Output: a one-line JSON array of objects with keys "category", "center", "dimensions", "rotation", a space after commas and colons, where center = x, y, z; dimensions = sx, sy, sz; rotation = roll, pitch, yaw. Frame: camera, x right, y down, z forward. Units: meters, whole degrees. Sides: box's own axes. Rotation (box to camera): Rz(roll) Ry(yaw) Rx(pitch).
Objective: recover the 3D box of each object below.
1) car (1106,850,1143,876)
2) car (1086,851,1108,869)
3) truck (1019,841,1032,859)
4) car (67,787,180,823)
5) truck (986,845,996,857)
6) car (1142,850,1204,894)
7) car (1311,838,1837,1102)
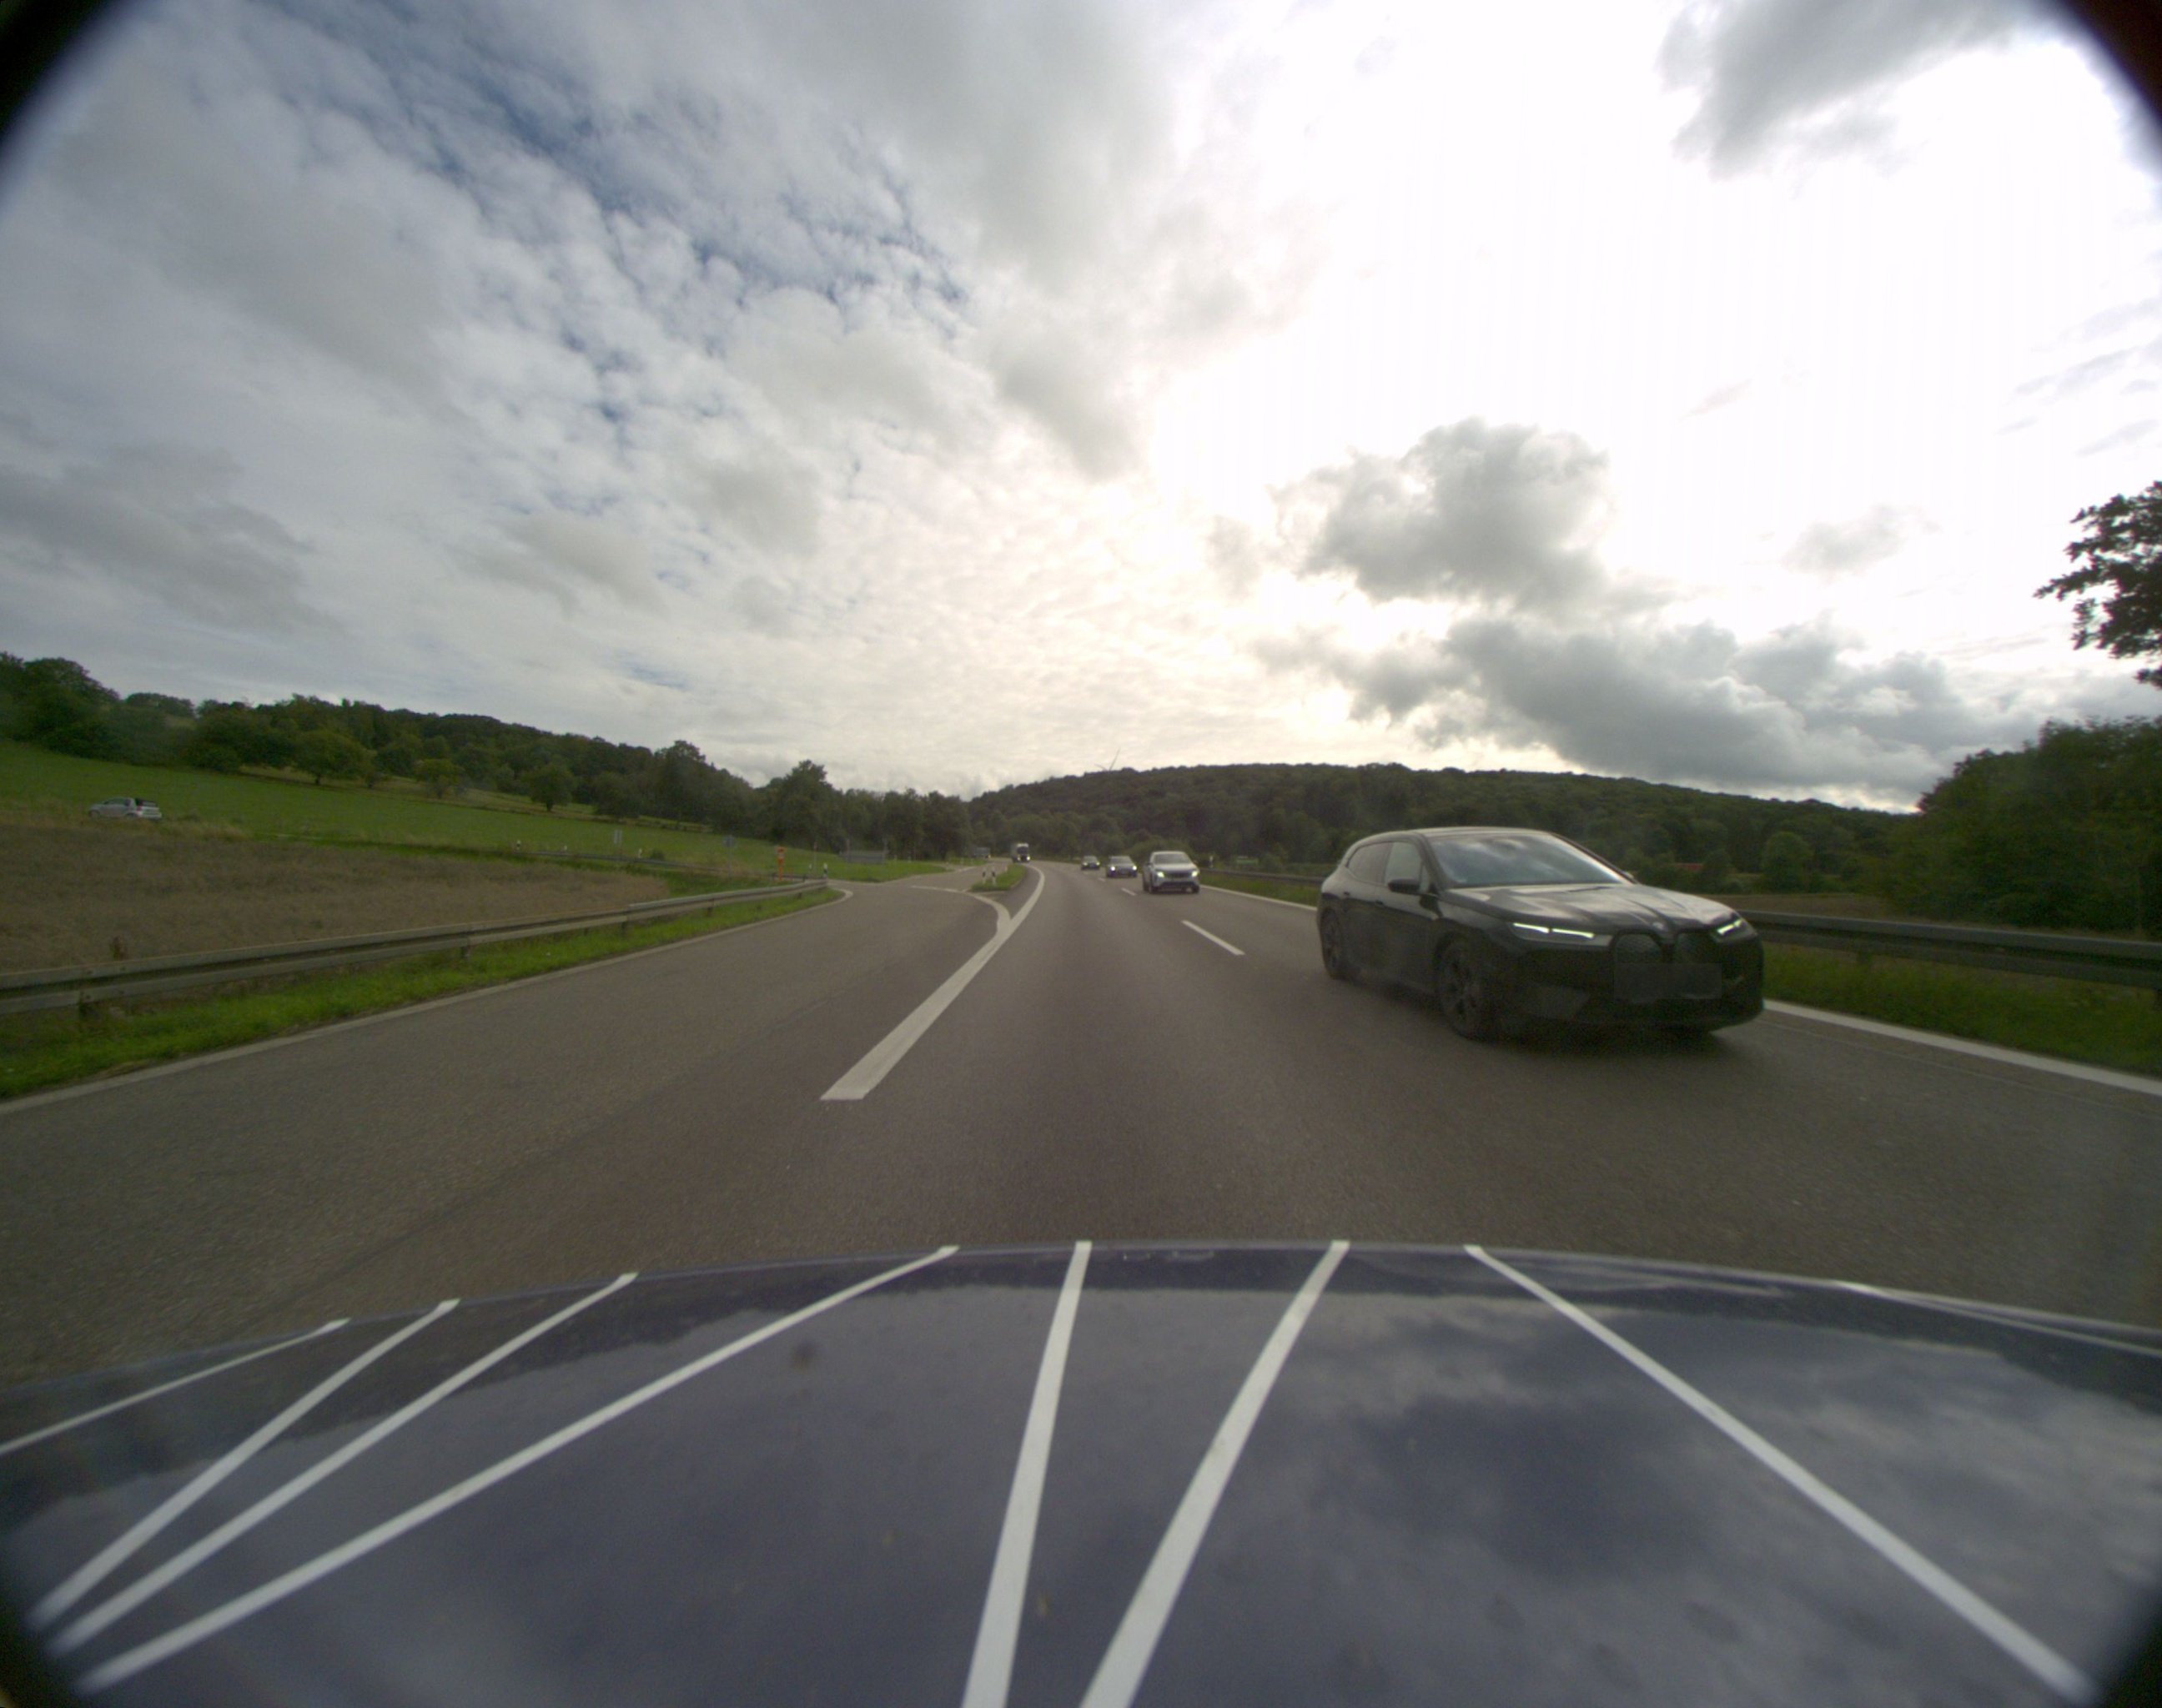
[{"category": "car", "center": [2.999, 0.581, 53.415], "dimensions": [1.999, 1.656, 4.412], "rotation": [0, 1, -5]}, {"category": "car", "center": [1.658, 0.605, 78.825], "dimensions": [1.999, 1.656, 4.412], "rotation": [0, 2, -3]}, {"category": "truck", "center": [-12.014, -0.899, 165.068], "dimensions": [2.796, 3.949, 5.936], "rotation": [0, 1, -5]}, {"category": "car", "center": [-60.127, -3.049, 47.799], "dimensions": [4.003, 1.542, 1.782], "rotation": [7, -3, -14]}, {"category": "truck", "center": [-30.437, -0.953, 256.124], "dimensions": [2.798, 3.949, 5.931], "rotation": [0, 2, -13]}, {"category": "car", "center": [3.669, 0.701, 31.068], "dimensions": [1.998, 1.656, 4.415], "rotation": [-1, -1, 0]}, {"category": "car", "center": [3.856, 0.747, 7.104], "dimensions": [1.999, 1.656, 4.414], "rotation": [-1, 0, -1]}]
